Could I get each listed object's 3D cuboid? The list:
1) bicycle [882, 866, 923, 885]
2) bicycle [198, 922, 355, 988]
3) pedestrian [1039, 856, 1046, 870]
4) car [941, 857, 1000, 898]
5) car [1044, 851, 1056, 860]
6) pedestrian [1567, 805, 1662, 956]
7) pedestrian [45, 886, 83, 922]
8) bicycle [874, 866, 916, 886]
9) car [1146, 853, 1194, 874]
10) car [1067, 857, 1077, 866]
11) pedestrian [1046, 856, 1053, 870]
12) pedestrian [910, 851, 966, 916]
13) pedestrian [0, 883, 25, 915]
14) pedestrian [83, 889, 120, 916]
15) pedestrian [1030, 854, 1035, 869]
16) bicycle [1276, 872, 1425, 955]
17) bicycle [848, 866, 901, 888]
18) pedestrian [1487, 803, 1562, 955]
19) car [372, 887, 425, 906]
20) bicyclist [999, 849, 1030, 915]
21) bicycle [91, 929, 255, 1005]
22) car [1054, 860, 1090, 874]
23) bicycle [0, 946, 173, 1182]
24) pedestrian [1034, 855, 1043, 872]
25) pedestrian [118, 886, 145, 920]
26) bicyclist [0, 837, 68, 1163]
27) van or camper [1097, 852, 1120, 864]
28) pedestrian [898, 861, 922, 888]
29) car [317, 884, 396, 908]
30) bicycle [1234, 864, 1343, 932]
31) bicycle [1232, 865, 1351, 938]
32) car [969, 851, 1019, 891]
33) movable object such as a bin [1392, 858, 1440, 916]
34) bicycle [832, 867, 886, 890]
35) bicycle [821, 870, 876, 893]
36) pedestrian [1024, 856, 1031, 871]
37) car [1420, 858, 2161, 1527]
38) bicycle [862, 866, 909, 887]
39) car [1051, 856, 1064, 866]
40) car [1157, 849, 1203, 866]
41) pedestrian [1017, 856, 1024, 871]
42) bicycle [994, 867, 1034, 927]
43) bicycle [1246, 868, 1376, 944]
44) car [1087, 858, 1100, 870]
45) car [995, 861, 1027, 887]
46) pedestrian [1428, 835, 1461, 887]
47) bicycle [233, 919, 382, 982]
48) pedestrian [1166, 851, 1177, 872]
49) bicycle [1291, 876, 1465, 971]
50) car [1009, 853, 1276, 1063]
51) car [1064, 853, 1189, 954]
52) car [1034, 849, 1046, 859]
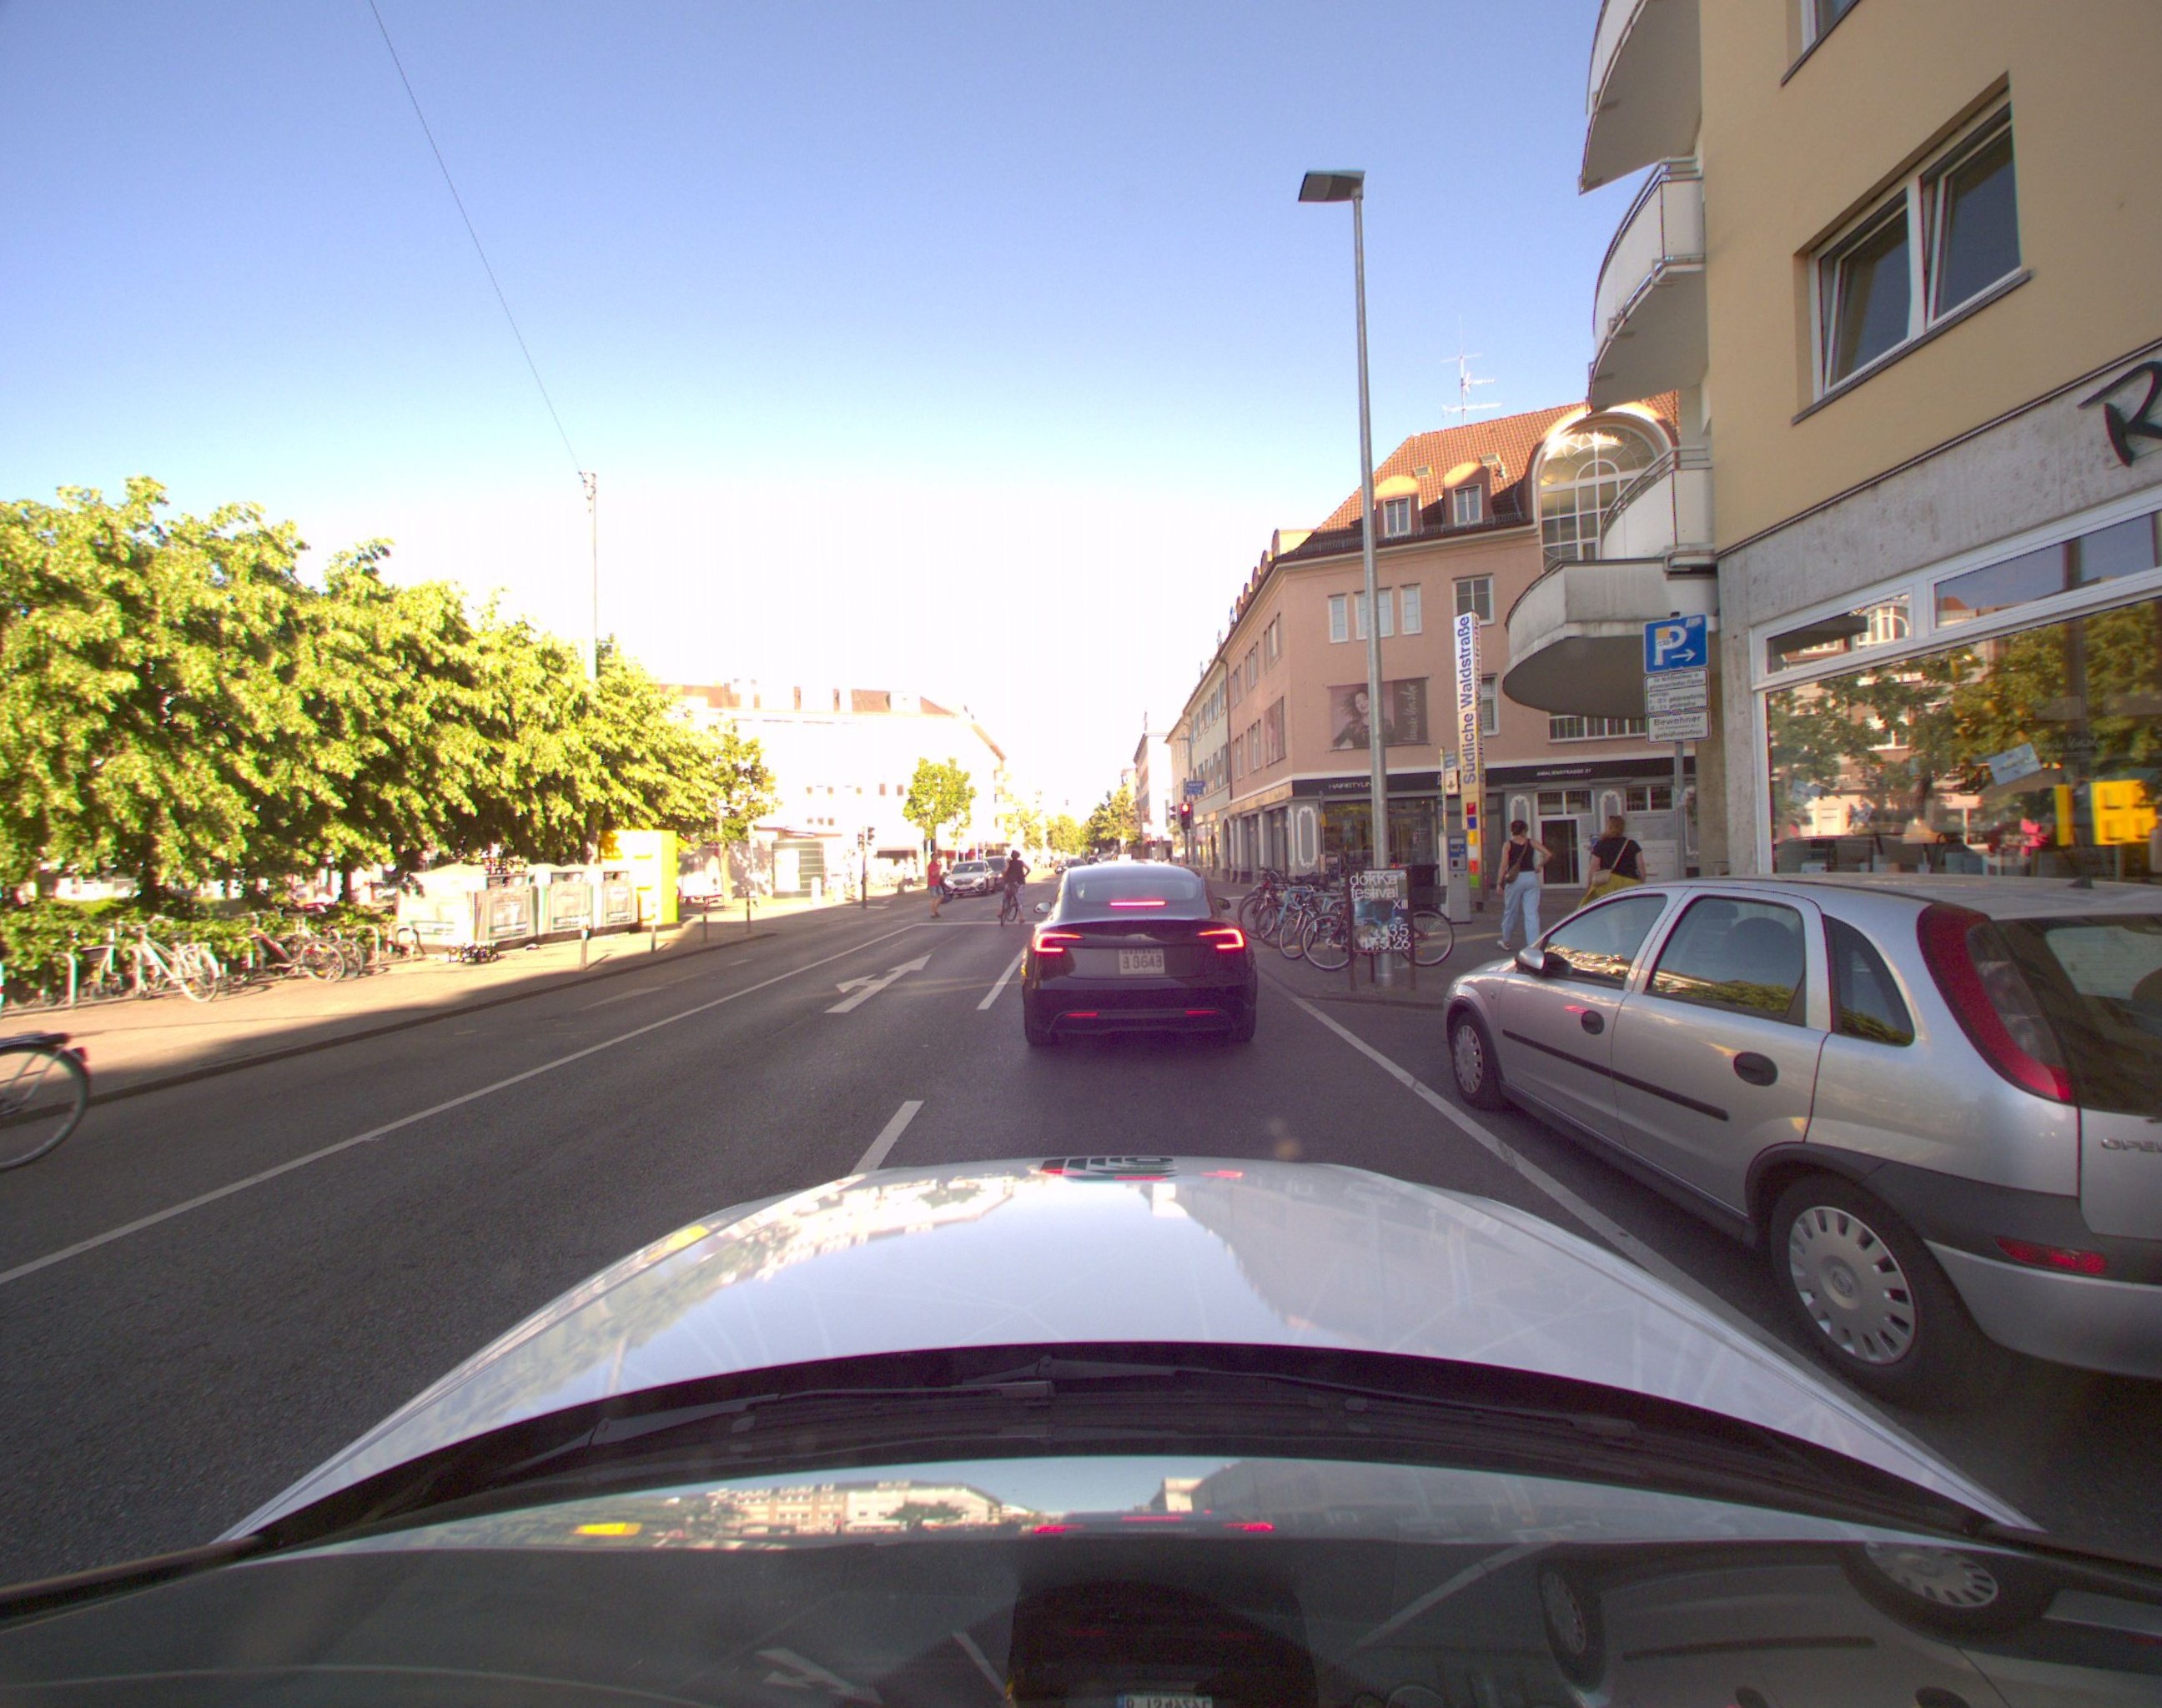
[{"bbox_3d":[-12.048,1.422,54.996,2.535,1.251,0.942,0,-1,-1],"label":"bicycle"},{"bbox_3d":[-11.426,1.425,11.595,1.667,0.859,0.469,0,-1,-5],"label":"bicycle"},{"bbox_3d":[-5.131,1.211,108.669,0.696,1.868,0.905,0,-1,-15],"label":"pedestrian"},{"bbox_3d":[-4.881,1.017,36.589,1.818,1.565,4.302,-5,-1,2],"label":"car"},{"bbox_3d":[-7.144,0.289,188.725,2.266,2.014,4.720,0,-1,3],"label":"car"},{"bbox_3d":[6.549,0.315,10.044,0.715,1.754,0.791,-4,-1,20],"label":"pedestrian"},{"bbox_3d":[-45.026,2.219,36.065,0.928,1.520,0.924,0,-1,-43],"label":"pedestrian"},{"bbox_3d":[-11.994,1.402,52.569,2.535,1.251,0.942,0,-1,-1],"label":"bicycle"},{"bbox_3d":[8.153,0.873,74.640,4.006,1.867,1.686,-1,0,-20],"label":"car"},{"bbox_3d":[-1.977,1.776,187.420,2.124,1.970,4.135,-1,0,2],"label":"car"},{"bbox_3d":[-4.017,1.171,104.728,0.775,1.868,1.004,0,-1,-13],"label":"pedestrian"},{"bbox_3d":[-3.855,0.779,22.070,1.100,1.719,1.067,-1,-1,20],"label":"pedestrian"},{"bbox_3d":[-63.888,2.684,48.353,1.088,1.842,1.308,-1,-1,44],"label":"pedestrian"},{"bbox_3d":[-46.632,2.285,38.785,0.856,1.214,0.905,-1,-1,23],"label":"pedestrian"},{"bbox_3d":[-6.205,0.978,104.216,0.693,1.868,0.658,0,-1,-3],"label":"pedestrian"},{"bbox_3d":[3.656,0.798,11.146,1.806,1.060,0.653,-1,0,3],"label":"bicycle"},{"bbox_3d":[-12.151,1.365,47.976,2.867,1.270,0.942,0,-1,-1],"label":"bicycle"},{"bbox_3d":[5.708,0.312,10.515,0.674,1.849,0.899,-5,-1,27],"label":"pedestrian"},{"bbox_3d":[-50.054,3.083,59.748,2.762,1.266,1.233,0,-1,-28],"label":"car"},{"bbox_3d":[-1.525,0.626,18.776,0.604,1.484,0.958,0,-1,1],"label":"bicyclist"},{"bbox_3d":[-11.461,1.419,10.298,1.560,0.886,0.470,0,-1,1],"label":"bicycle"},{"bbox_3d":[-0.849,1.241,78.551,1.677,1.390,3.940,-1,-1,31],"label":"car"},{"bbox_3d":[-6.068,1.164,4.098,0.613,1.162,1.962,-3,-1,8],"label":"bicycle"},{"bbox_3d":[-4.991,1.098,94.761,0.726,1.868,0.796,-1,-1,30],"label":"pedestrian"},{"bbox_3d":[-43.442,2.238,37.259,0.827,1.520,0.782,-1,-1,38],"label":"pedestrian"},{"bbox_3d":[-6.067,0.779,4.185,0.697,1.709,0.812,-2,-1,8],"label":"bicyclist"},{"bbox_3d":[5.652,0.851,167.651,4.832,2.438,1.851,-1,0,1],"label":"van or camper"},{"bbox_3d":[-10.177,1.200,48.485,1.088,1.611,1.267,0,-1,1],"label":"pedestrian"},{"bbox_3d":[-54.433,3.132,61.258,4.143,1.530,1.537,-1,0,-27],"label":"car"},{"bbox_3d":[3.738,0.784,14.762,1.806,1.152,0.653,-1,0,3],"label":"bicycle"},{"bbox_3d":[3.497,0.776,13.633,1.806,1.152,0.653,-1,0,3],"label":"bicycle"},{"bbox_3d":[-4.492,0.836,42.912,1.938,1.947,4.822,-1,0,2],"label":"car"},{"bbox_3d":[6.747,0.660,16.428,0.633,1.103,0.728,-4,-1,5],"label":"movable object such as a bin"},{"bbox_3d":[-12.390,1.372,45.580,2.772,1.274,0.933,0,-1,-2],"label":"bicycle"},{"bbox_3d":[-12.321,1.439,43.237,2.652,1.195,0.942,0,-1,-1],"label":"bicycle"},{"bbox_3d":[-6.420,1.131,97.476,0.734,1.868,0.787,0,-1,-15],"label":"pedestrian"},{"bbox_3d":[2.960,0.739,3.537,1.578,1.426,3.581,0,-1,2],"label":"car"},{"bbox_3d":[-12.050,1.388,50.294,2.655,1.259,0.942,0,-1,-1],"label":"bicycle"},{"bbox_3d":[-4.841,1.322,166.800,2.405,1.970,4.679,-1,0,2],"label":"car"},{"bbox_3d":[10.793,0.351,88.806,4.718,1.430,1.722,-5,-1,-22],"label":"car"},{"bbox_3d":[-7.256,1.135,97.302,0.734,1.868,0.787,0,-1,-15],"label":"pedestrian"},{"bbox_3d":[-1.516,0.940,18.655,0.625,1.223,2.002,0,1,3],"label":"bicycle"},{"bbox_3d":[3.519,0.792,12.557,1.806,1.102,0.653,-1,0,3],"label":"bicycle"},{"bbox_3d":[1.957,1.597,127.752,2.027,1.788,4.008,-1,0,2],"label":"car"},{"bbox_3d":[-4.252,1.206,50.038,1.455,1.430,3.607,-5,-1,2],"label":"car"},{"bbox_3d":[10.950,0.204,24.532,0.714,1.549,0.797,-1,-1,38],"label":"pedestrian"},{"bbox_3d":[-11.461,1.426,12.094,1.663,0.859,0.469,0,-1,-5],"label":"bicycle"},{"bbox_3d":[7.826,0.649,70.502,0.660,1.760,0.649,0,-1,-22],"label":"pedestrian"},{"bbox_3d":[3.636,0.846,10.073,1.875,1.044,0.653,-2,0,3],"label":"bicycle"},{"bbox_3d":[0.496,0.739,7.874,1.843,1.447,4.453,0,0,2],"label":"car"},{"bbox_3d":[0.743,0.750,14.297,1.843,1.482,4.453,0,0,2],"label":"car"},{"bbox_3d":[-9.000,-0.013,180.130,2.266,2.014,4.720,0,-1,3],"label":"car"}]
